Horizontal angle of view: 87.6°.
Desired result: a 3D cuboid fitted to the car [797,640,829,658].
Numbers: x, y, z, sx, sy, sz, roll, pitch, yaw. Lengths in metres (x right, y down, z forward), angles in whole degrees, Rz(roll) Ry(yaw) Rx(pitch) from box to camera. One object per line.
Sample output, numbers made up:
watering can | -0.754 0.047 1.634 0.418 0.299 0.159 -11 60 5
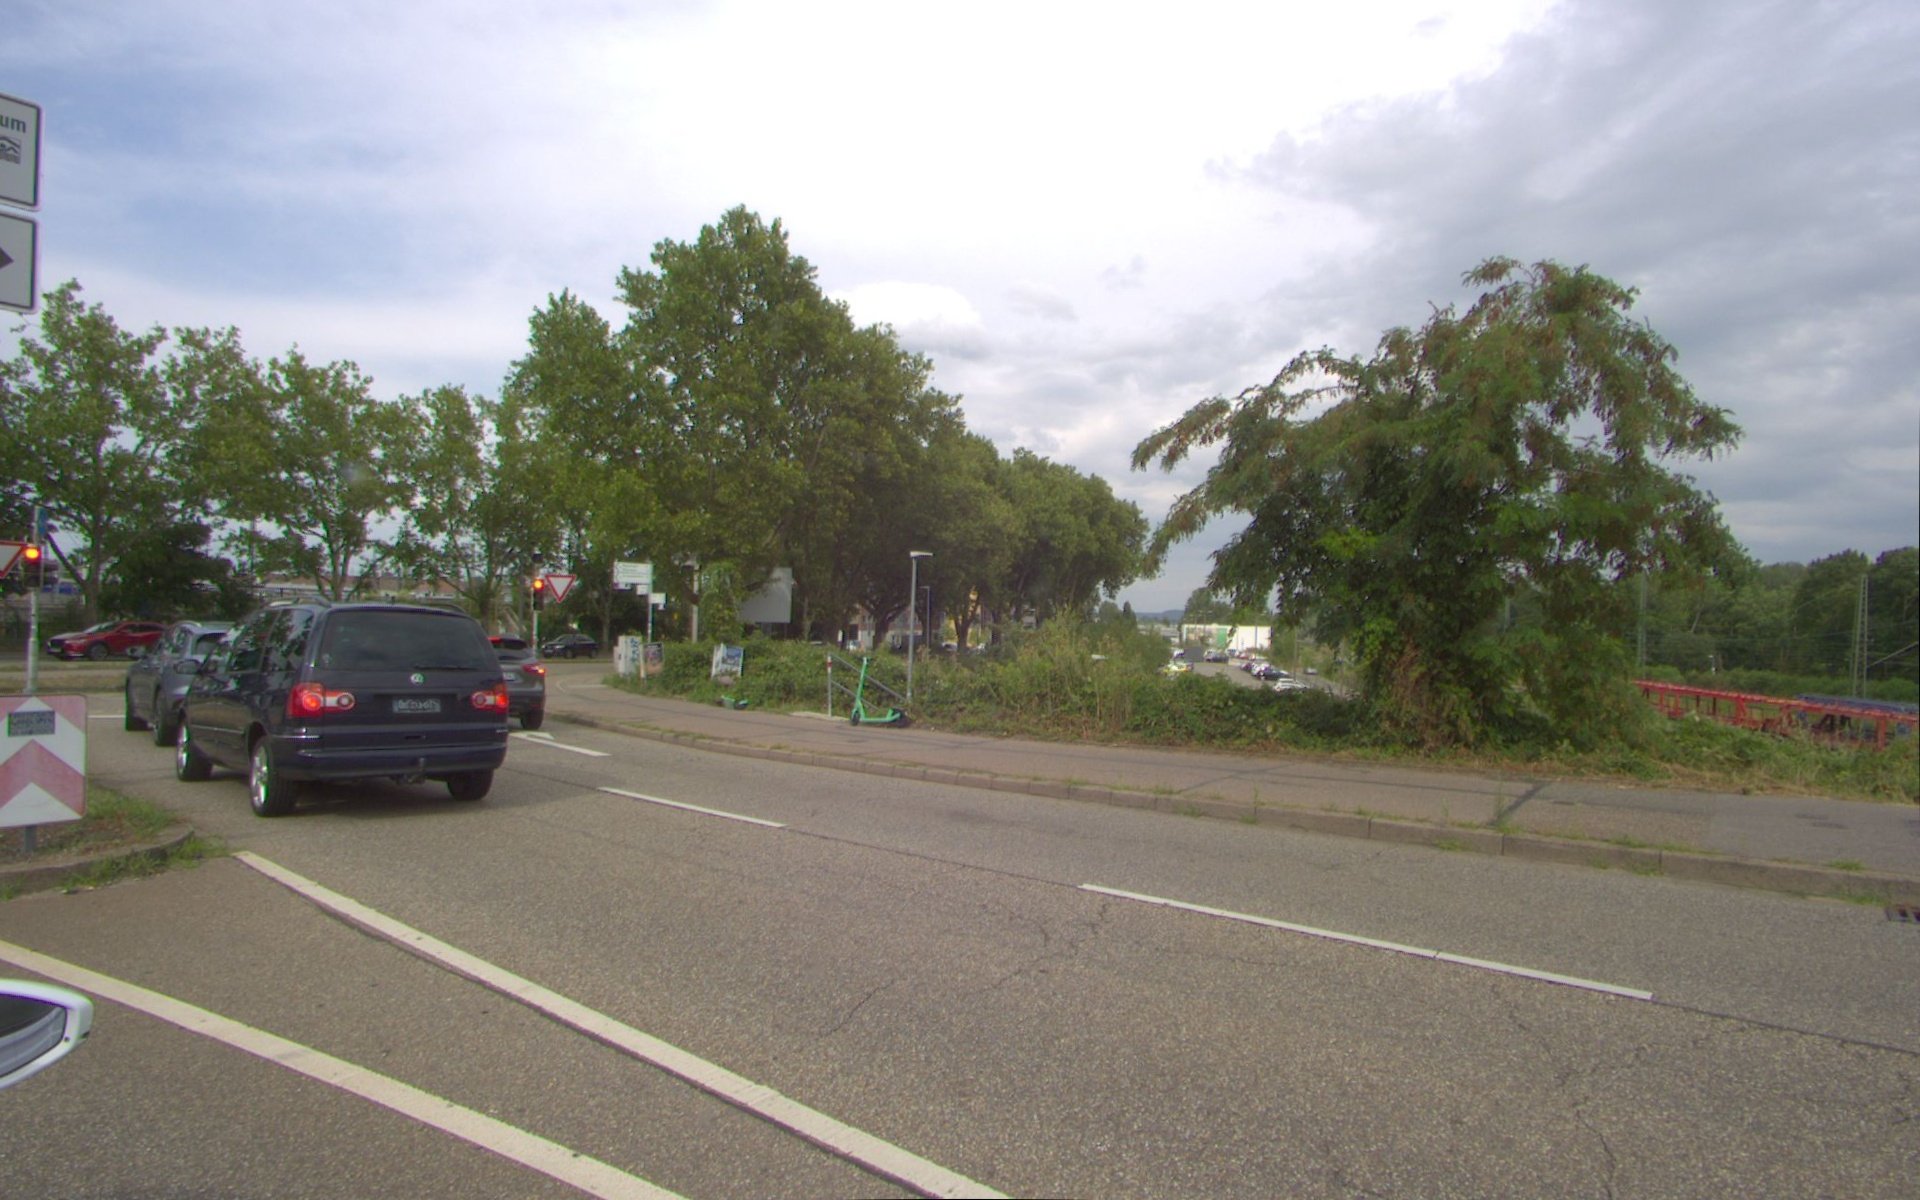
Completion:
car | -15.116 4.993 103.372 1.778 1.745 3.996 0 -1 16

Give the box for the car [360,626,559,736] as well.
car | -8.680 1.322 17.230 4.094 1.663 1.742 -2 -4 44

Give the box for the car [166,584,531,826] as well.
car | -5.788 0.852 9.273 4.092 1.746 1.743 -1 -4 42

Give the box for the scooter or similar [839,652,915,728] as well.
scooter or similar | -1.368 1.460 16.444 1.262 1.198 0.396 -1 -1 32

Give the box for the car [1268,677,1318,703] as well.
car | 28.964 7.813 87.188 3.923 2.040 1.762 1 -1 10

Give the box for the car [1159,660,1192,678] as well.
car | 26.835 8.642 124.777 3.926 2.040 1.761 1 -1 16

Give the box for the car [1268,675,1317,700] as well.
car | 30.017 7.916 90.500 3.923 2.040 1.762 1 -1 10

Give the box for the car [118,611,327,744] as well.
car | -10.536 1.038 14.200 4.113 1.604 1.682 -2 -4 44

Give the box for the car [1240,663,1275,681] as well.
car | 36.909 8.881 124.413 3.923 2.040 1.762 1 -1 10

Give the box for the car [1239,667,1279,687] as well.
car | 32.892 8.451 110.280 3.923 2.040 1.762 1 -1 10

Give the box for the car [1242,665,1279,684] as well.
car | 34.689 8.621 115.636 3.923 2.040 1.762 1 -1 10

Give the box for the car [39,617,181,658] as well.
car | -32.518 1.406 38.463 1.670 1.466 3.963 0 -1 12

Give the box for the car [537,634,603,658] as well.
car | -25.481 2.989 65.570 1.729 1.466 4.339 0 -1 16

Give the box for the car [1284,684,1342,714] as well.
car | 26.887 7.508 76.373 3.923 2.040 1.762 1 -1 10

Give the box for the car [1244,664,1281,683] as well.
car | 36.112 8.748 119.581 3.923 2.040 1.762 1 -1 10

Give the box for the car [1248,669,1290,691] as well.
car | 32.103 8.290 104.251 3.923 2.040 1.762 1 -1 10

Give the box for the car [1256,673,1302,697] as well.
car | 30.167 8.021 94.821 3.923 2.040 1.762 1 -1 10

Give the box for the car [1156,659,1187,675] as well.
car | 28.009 8.853 132.505 3.926 2.040 1.761 1 -1 16

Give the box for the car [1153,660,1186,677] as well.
car | 26.705 8.707 127.676 3.926 2.040 1.761 1 -1 16
